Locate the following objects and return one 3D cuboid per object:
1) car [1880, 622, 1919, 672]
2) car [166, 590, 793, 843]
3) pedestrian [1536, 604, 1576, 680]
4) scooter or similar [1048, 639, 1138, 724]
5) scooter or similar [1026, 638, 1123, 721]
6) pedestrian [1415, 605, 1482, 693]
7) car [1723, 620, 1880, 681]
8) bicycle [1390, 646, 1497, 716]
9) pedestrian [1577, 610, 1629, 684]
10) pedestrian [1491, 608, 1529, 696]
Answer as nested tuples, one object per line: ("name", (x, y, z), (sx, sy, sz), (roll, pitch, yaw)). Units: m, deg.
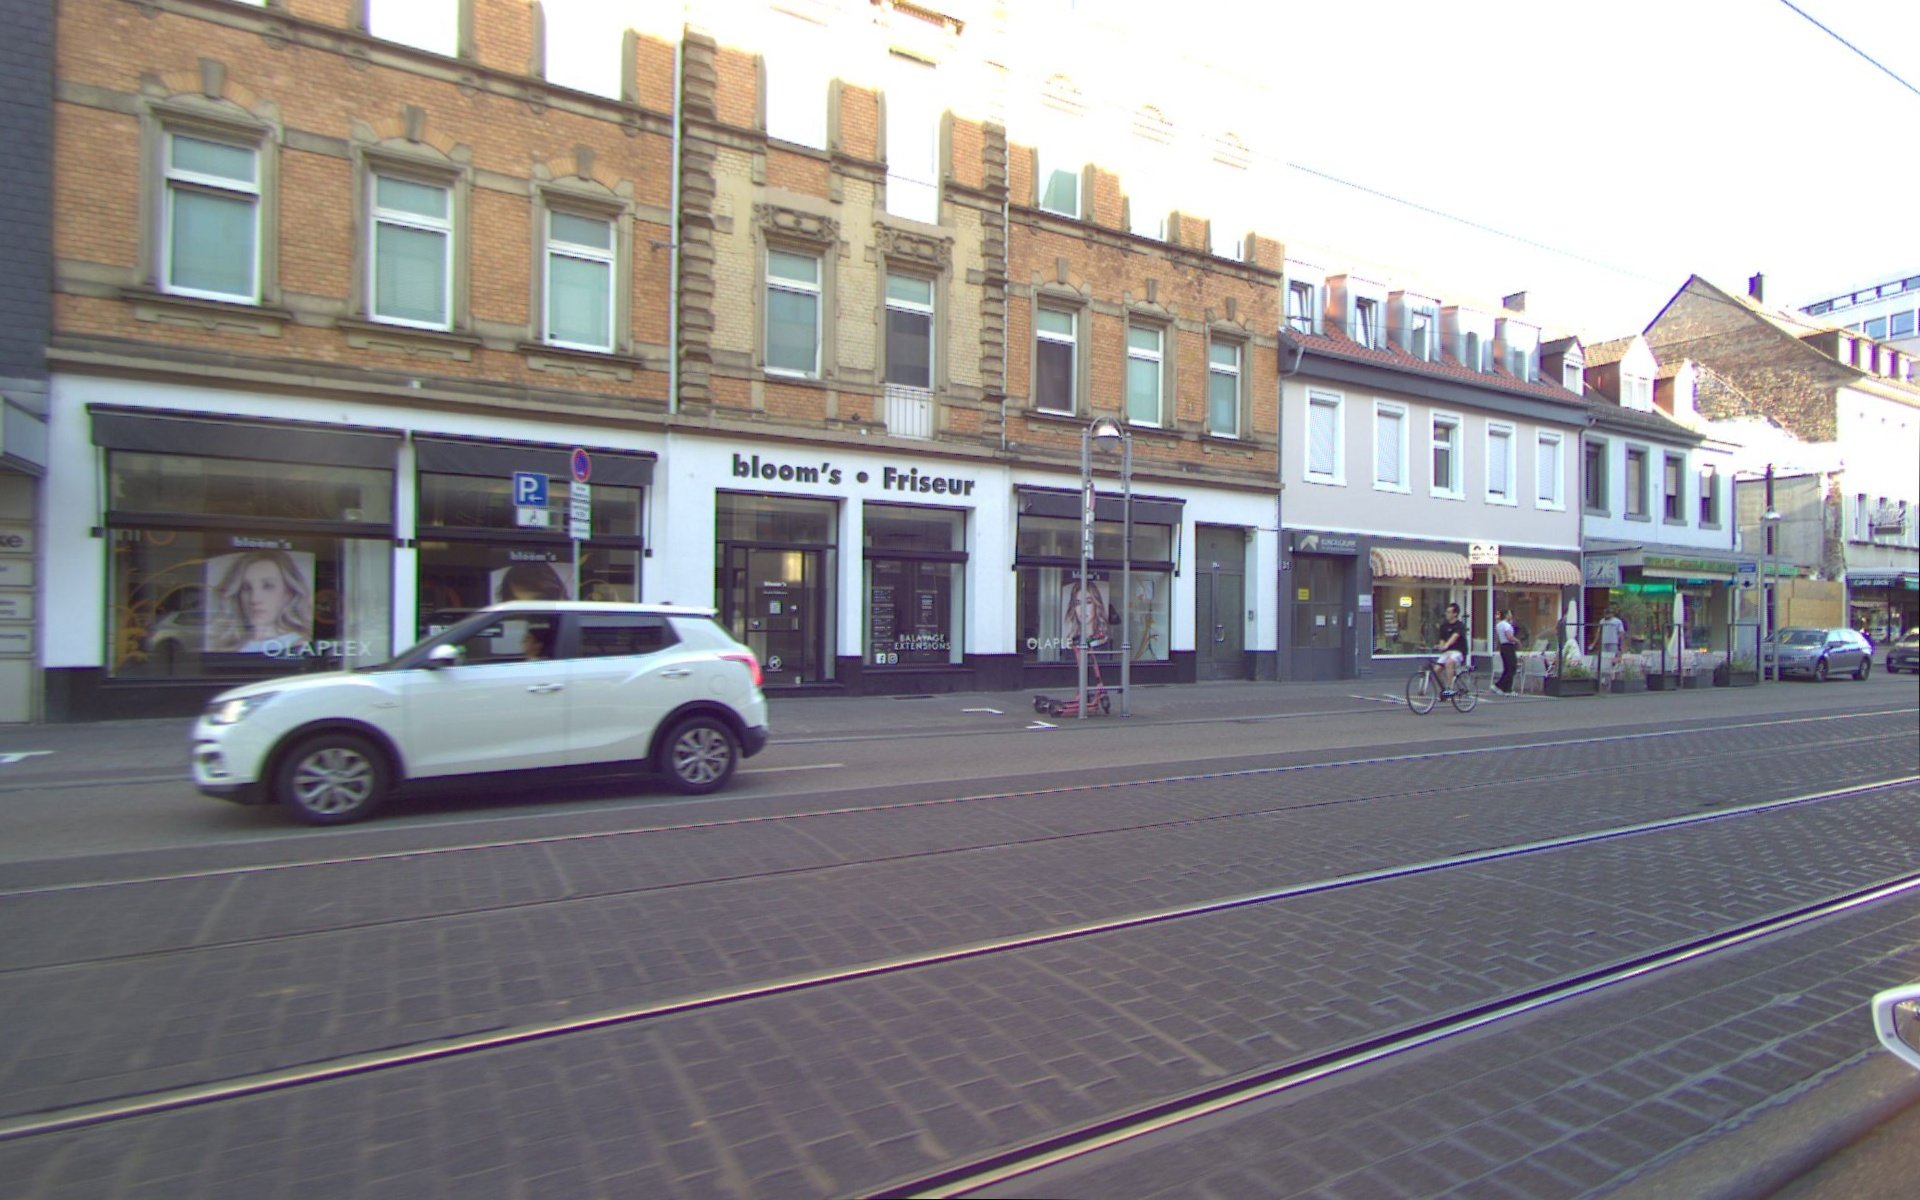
("car", (32.533, 1.557, 33.432), (3.696, 1.566, 1.668), (1, 1, -28))
("car", (-3.693, 0.812, 8.306), (4.211, 1.615, 1.882), (1, -2, -29))
("pedestrian", (14.655, 1.015, 24.710), (0.636, 1.847, 0.652), (1, 0, -35))
("scooter or similar", (2.040, 1.220, 15.351), (1.461, 1.218, 0.362), (1, 1, -33))
("scooter or similar", (1.803, 1.220, 15.774), (1.461, 1.218, 0.576), (1, 1, -33))
("pedestrian", (8.369, 0.830, 17.215), (0.862, 1.463, 0.622), (2, -1, -25))
("car", (24.059, 1.443, 28.685), (4.702, 1.552, 1.984), (2, 0, -31))
("bicycle", (8.268, 1.360, 17.163), (1.926, 1.130, 0.576), (1, -1, -25))
("pedestrian", (15.892, 1.143, 24.836), (0.680, 1.799, 0.881), (1, 0, -31))
("pedestrian", (11.498, 1.079, 21.013), (0.603, 1.799, 0.718), (0, 0, 22))
